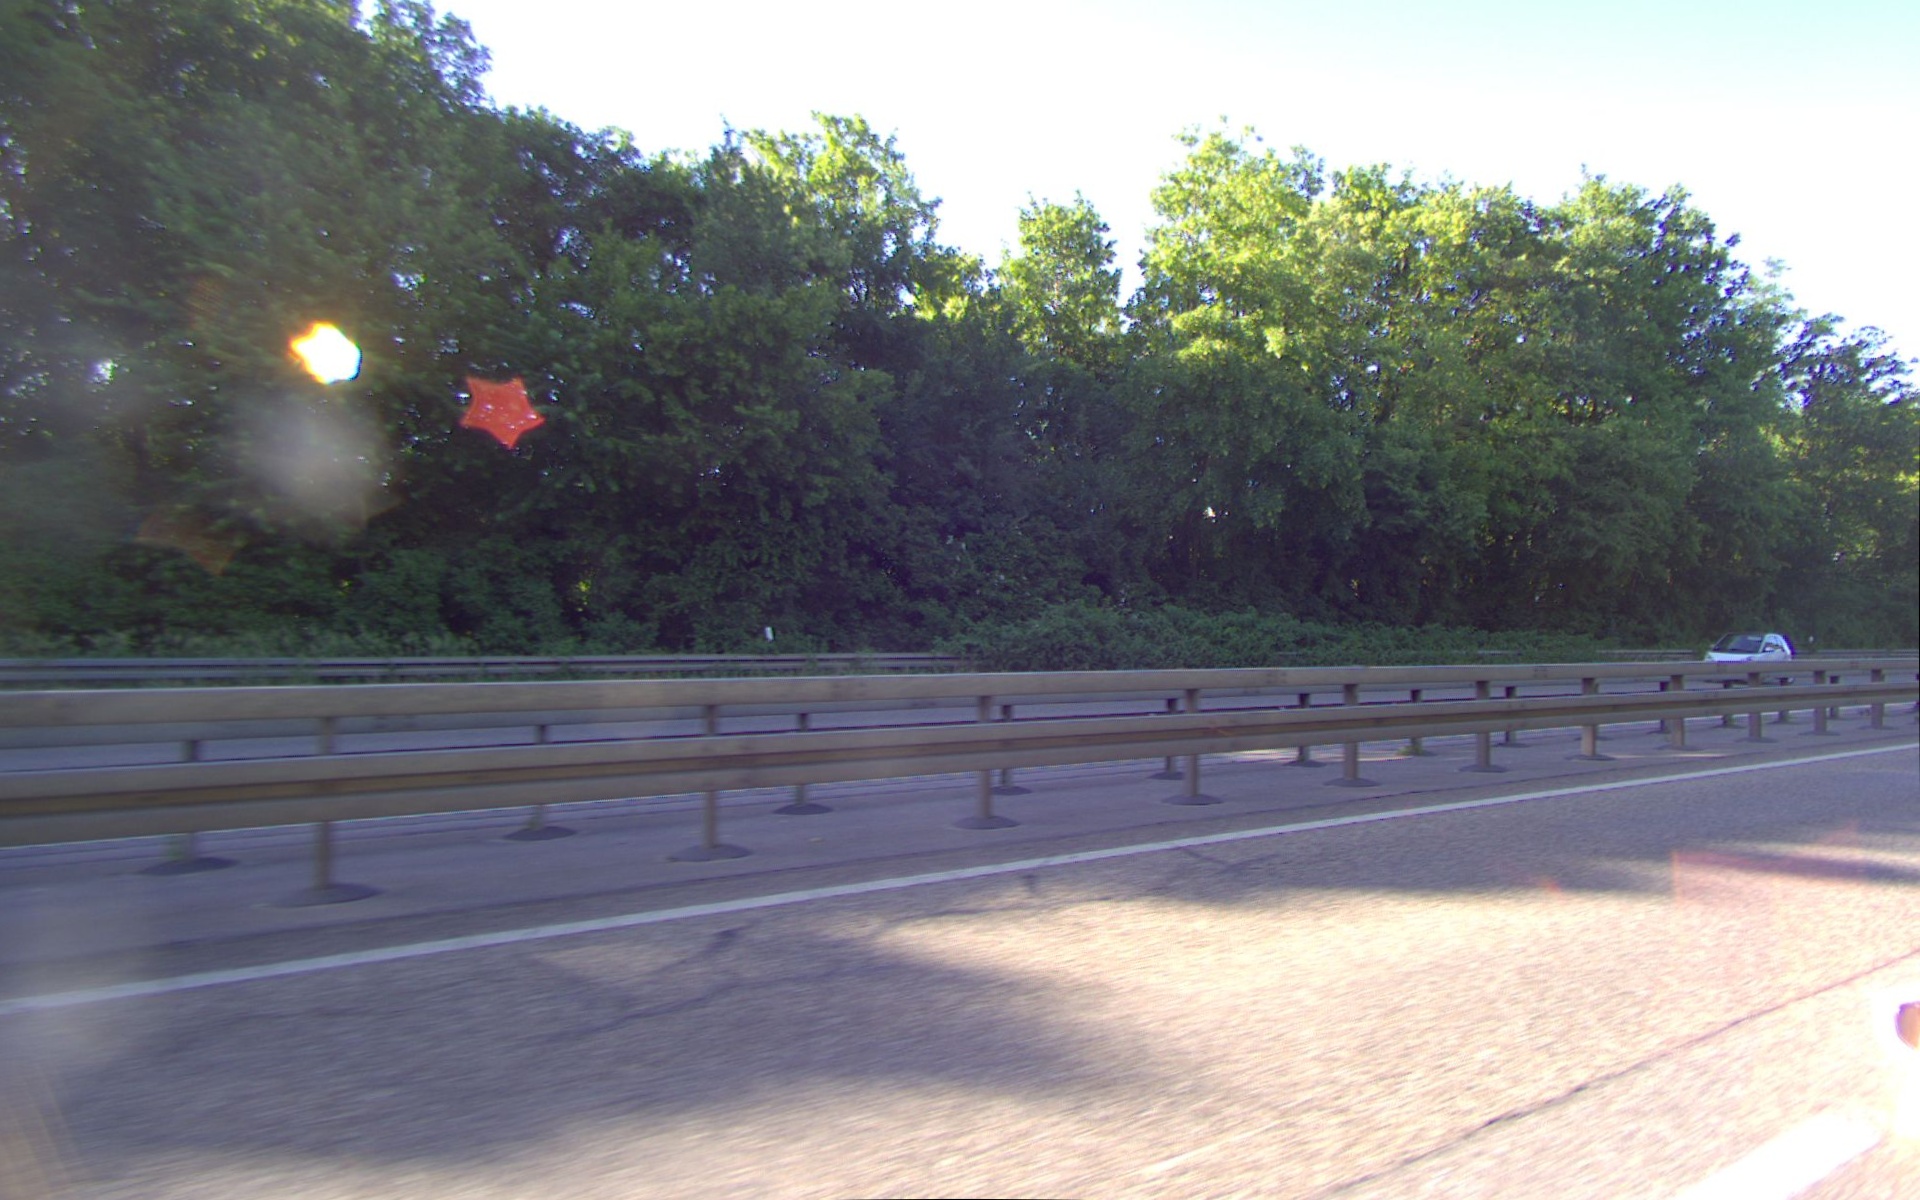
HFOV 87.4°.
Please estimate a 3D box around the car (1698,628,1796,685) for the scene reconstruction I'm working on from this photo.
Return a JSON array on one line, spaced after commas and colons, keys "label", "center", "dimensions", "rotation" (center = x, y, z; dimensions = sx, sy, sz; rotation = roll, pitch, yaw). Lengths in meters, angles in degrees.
[{"label": "car", "center": [24.180, 1.705, 30.852], "dimensions": [2.841, 1.641, 1.407], "rotation": [1, -1, -30]}]
